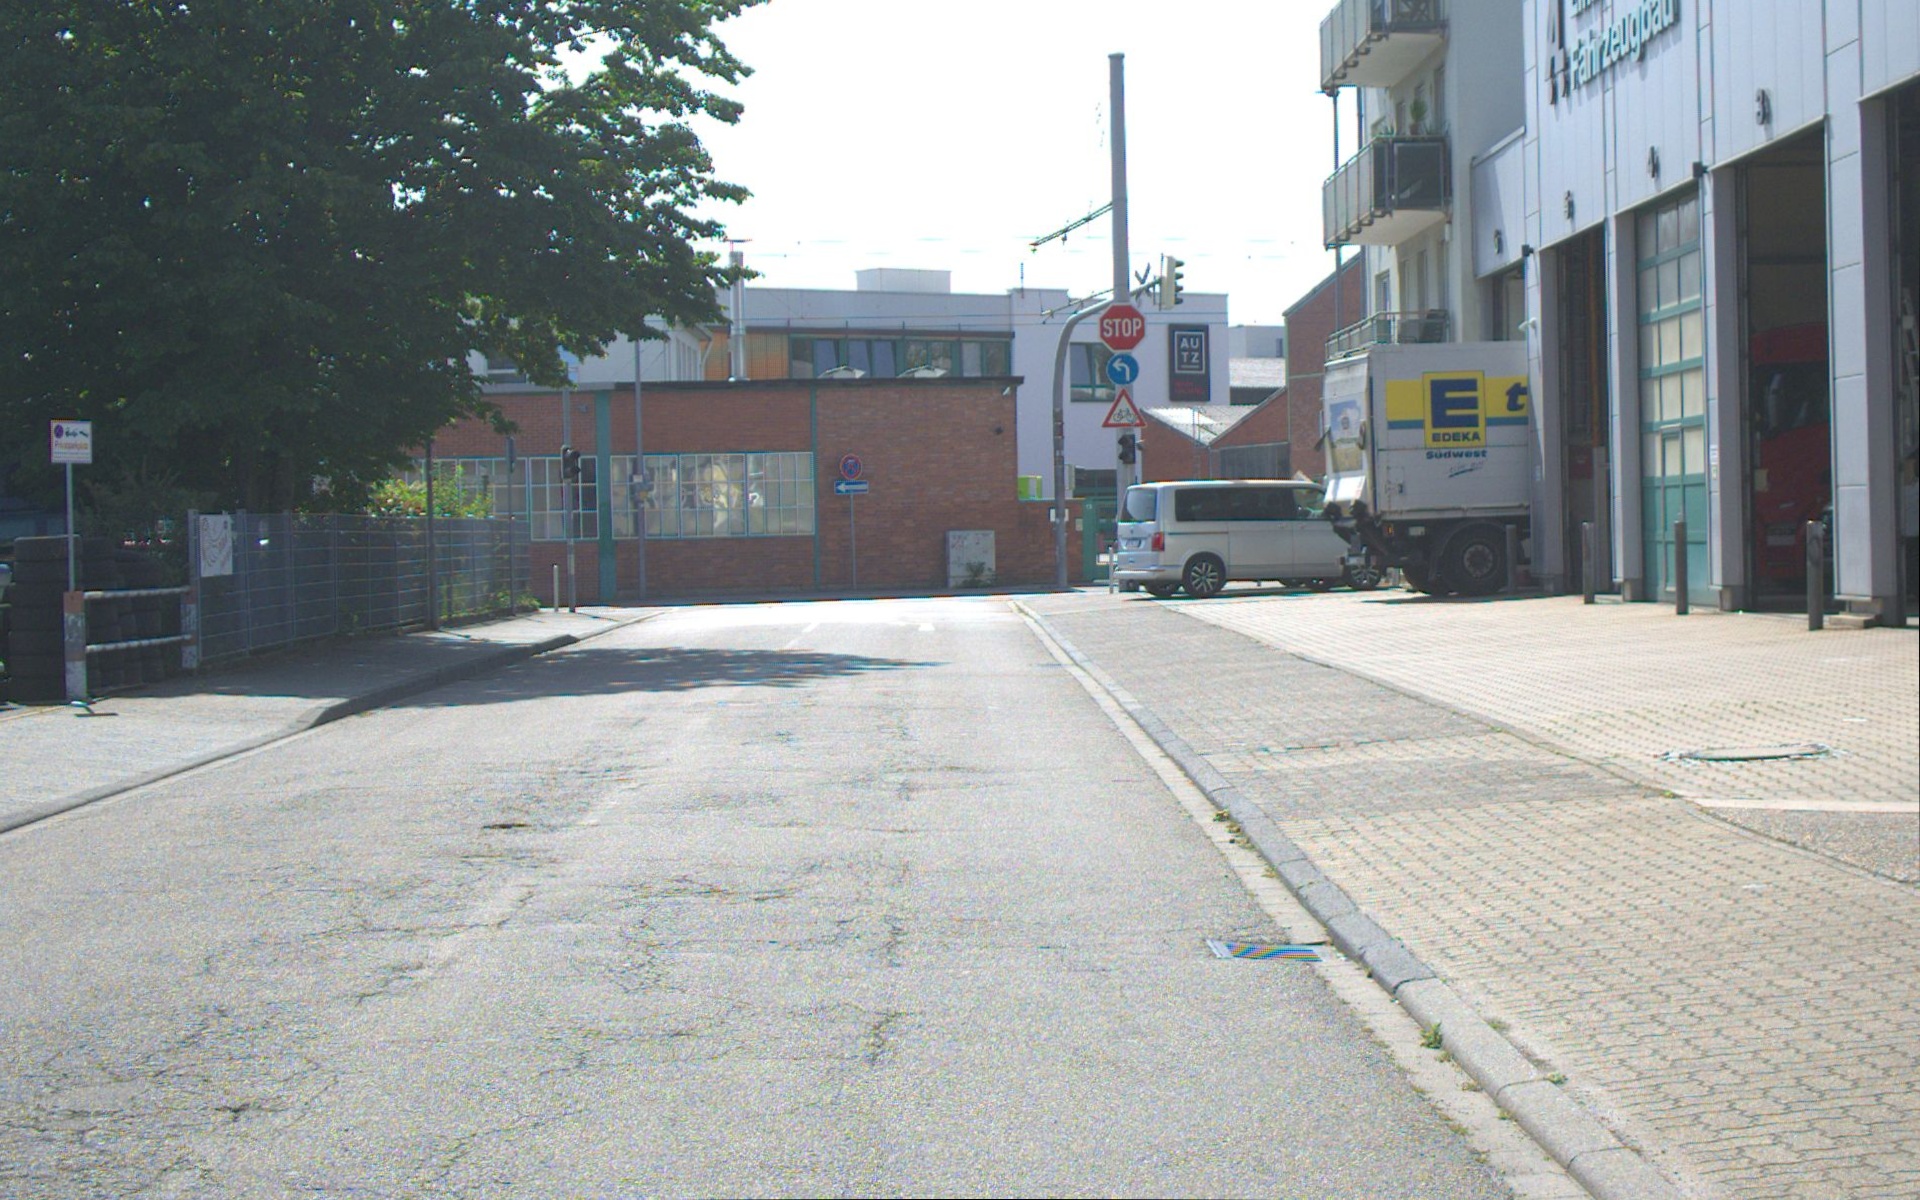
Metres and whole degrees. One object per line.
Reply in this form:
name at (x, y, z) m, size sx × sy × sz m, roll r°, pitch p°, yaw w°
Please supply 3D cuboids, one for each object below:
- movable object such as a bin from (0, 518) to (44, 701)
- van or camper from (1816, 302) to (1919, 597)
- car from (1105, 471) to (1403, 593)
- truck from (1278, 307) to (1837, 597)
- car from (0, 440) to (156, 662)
movable object such as a bin at (-9.275, 0.130, 28.103) m, size 2.627 × 1.505 × 2.728 m, roll -2°, pitch 1°, yaw 5°
van or camper at (12.506, -1.747, 39.494) m, size 4.755 × 3.277 × 2.000 m, roll -1°, pitch 1°, yaw -3°
car at (5.013, -1.165, 58.685) m, size 4.653 × 1.951 × 1.917 m, roll -2°, pitch 1°, yaw -19°
truck at (8.650, -2.154, 50.250) m, size 7.357 × 3.633 × 2.768 m, roll -4°, pitch 2°, yaw -6°
car at (-11.633, -0.551, 40.067) m, size 4.085 × 2.504 × 1.777 m, roll -1°, pitch 1°, yaw -2°
